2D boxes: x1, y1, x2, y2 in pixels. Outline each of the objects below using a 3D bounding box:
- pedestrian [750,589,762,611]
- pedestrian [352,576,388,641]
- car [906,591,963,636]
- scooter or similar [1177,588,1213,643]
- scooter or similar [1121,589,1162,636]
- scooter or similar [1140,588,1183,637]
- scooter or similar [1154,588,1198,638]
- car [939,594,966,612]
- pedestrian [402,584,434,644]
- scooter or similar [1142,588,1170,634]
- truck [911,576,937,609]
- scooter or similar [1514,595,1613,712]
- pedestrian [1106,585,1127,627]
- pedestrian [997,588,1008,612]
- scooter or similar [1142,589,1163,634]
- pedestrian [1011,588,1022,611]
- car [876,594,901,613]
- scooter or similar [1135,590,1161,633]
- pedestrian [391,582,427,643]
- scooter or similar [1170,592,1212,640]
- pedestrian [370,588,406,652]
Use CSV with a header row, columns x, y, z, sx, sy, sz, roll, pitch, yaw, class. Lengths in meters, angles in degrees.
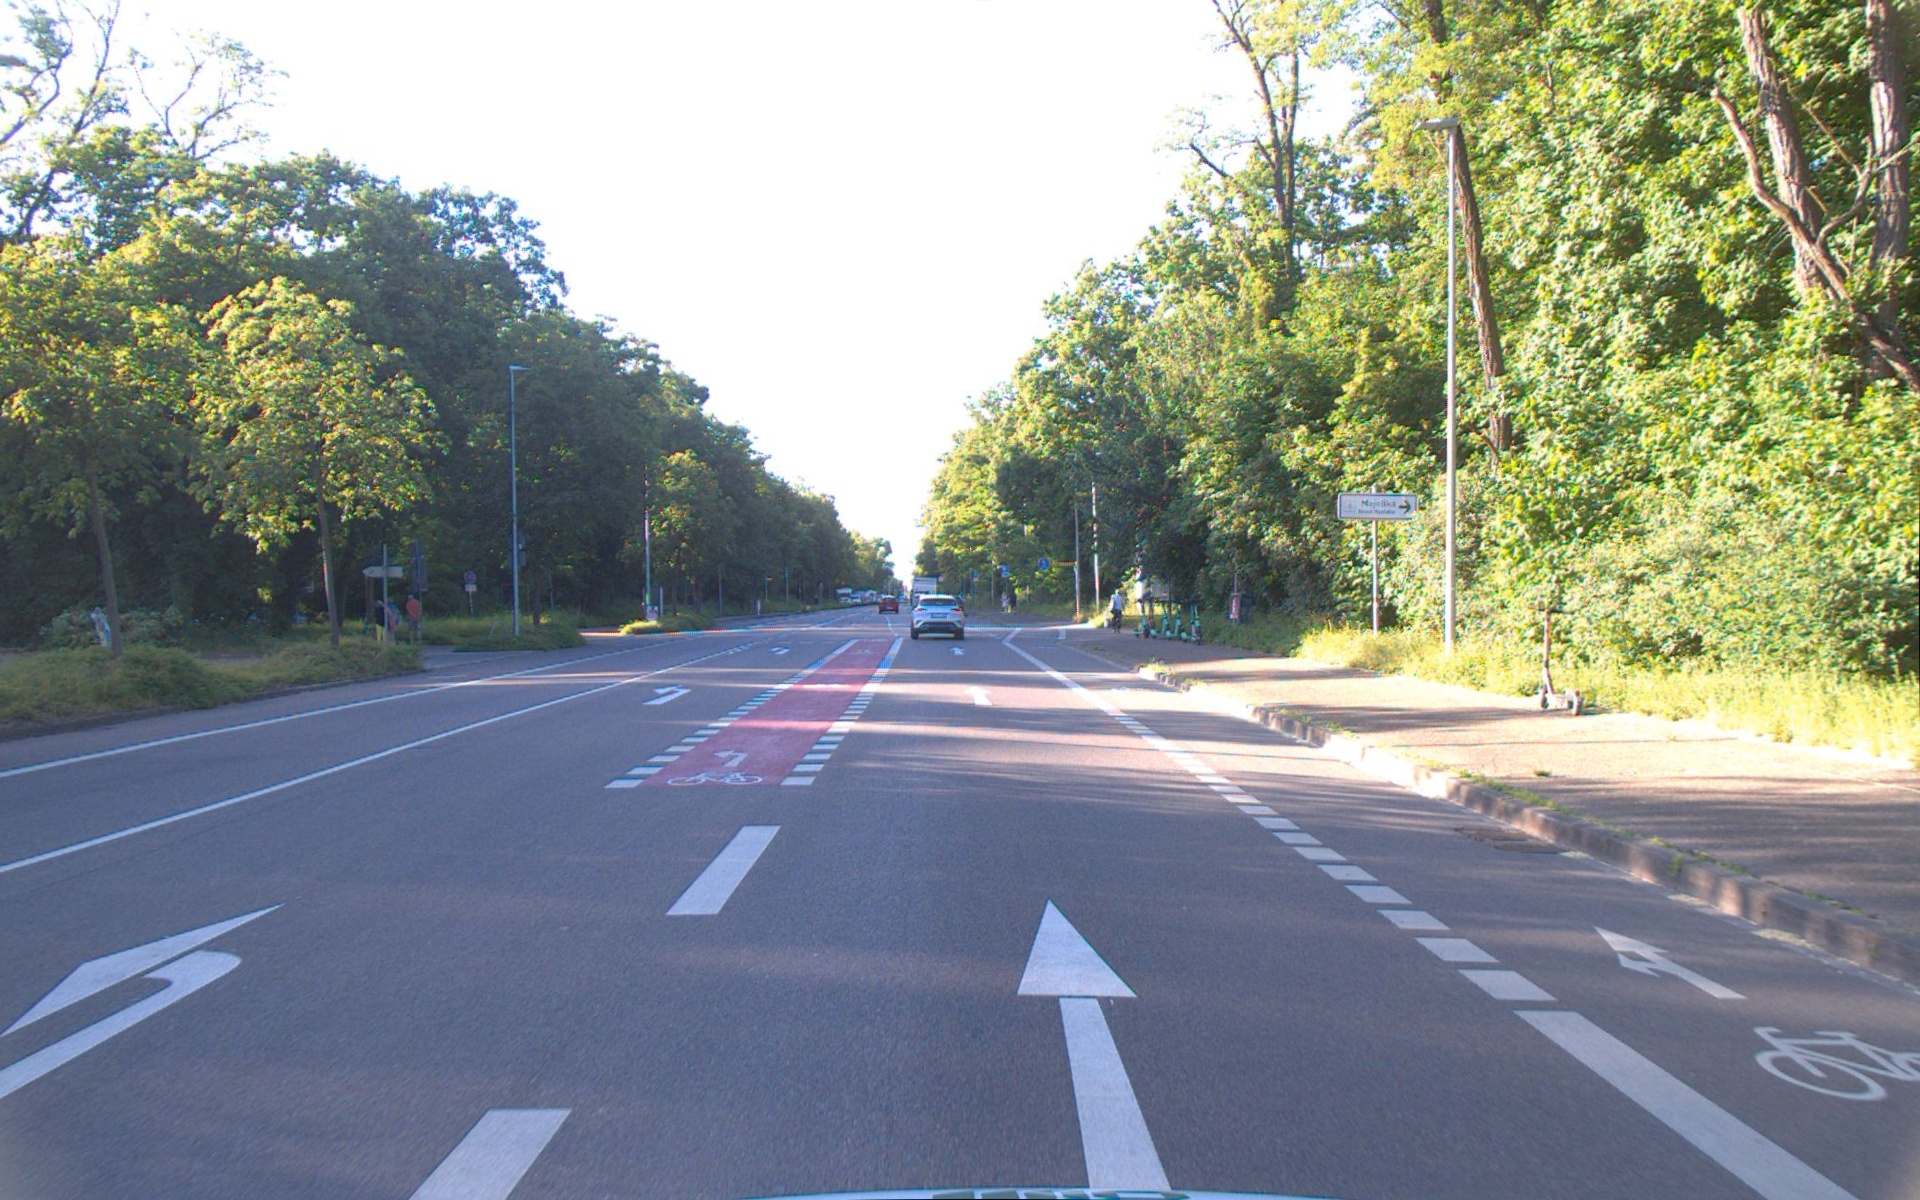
x,y,z,sx,sy,sz,roll,pitch,yaw,class
-18.513,-0.004,150.034,0.845,2.049,1.269,-1,0,2,pedestrian
-18.756,0.268,52.602,0.702,2.049,0.797,-1,0,21,pedestrian
-0.920,0.452,57.298,1.727,1.485,3.814,1,0,-5,car
6.348,0.403,44.682,0.668,1.448,1.681,-1,0,-2,scooter or similar
5.748,0.376,52.373,0.671,1.448,1.674,-1,0,-17,scooter or similar
6.178,0.374,50.702,0.671,1.448,1.674,-1,0,-17,scooter or similar
6.336,0.379,48.634,0.670,1.448,1.675,-1,0,-15,scooter or similar
-0.560,0.204,126.959,1.953,1.350,3.999,-1,0,-2,car
-18.608,0.487,56.769,0.703,2.049,0.746,-1,0,30,pedestrian
6.354,0.350,53.697,0.668,1.448,1.681,-1,0,-1,scooter or similar
-4.044,-0.876,186.339,2.743,3.632,8.030,0,0,-3,truck
6.887,0.589,18.925,0.522,1.272,1.541,-1,0,-1,scooter or similar
5.963,0.237,63.069,0.739,1.591,0.803,-1,0,3,pedestrian
2.989,0.007,117.141,0.684,1.682,0.876,-1,0,-2,pedestrian
6.427,0.380,55.212,0.667,1.448,1.246,-1,0,7,scooter or similar
3.988,-0.042,117.154,0.728,1.627,0.797,-1,0,-2,pedestrian
-6.175,0.307,143.395,1.953,1.545,3.999,-1,0,-1,car
6.443,0.380,56.752,0.668,1.448,1.681,-1,0,-1,scooter or similar
-18.717,0.428,56.199,0.703,2.049,0.873,-1,0,30,pedestrian
6.486,0.452,46.540,0.459,1.329,1.470,-1,0,-23,scooter or similar
-18.458,0.646,53.359,0.702,2.049,0.797,-1,0,21,pedestrian
